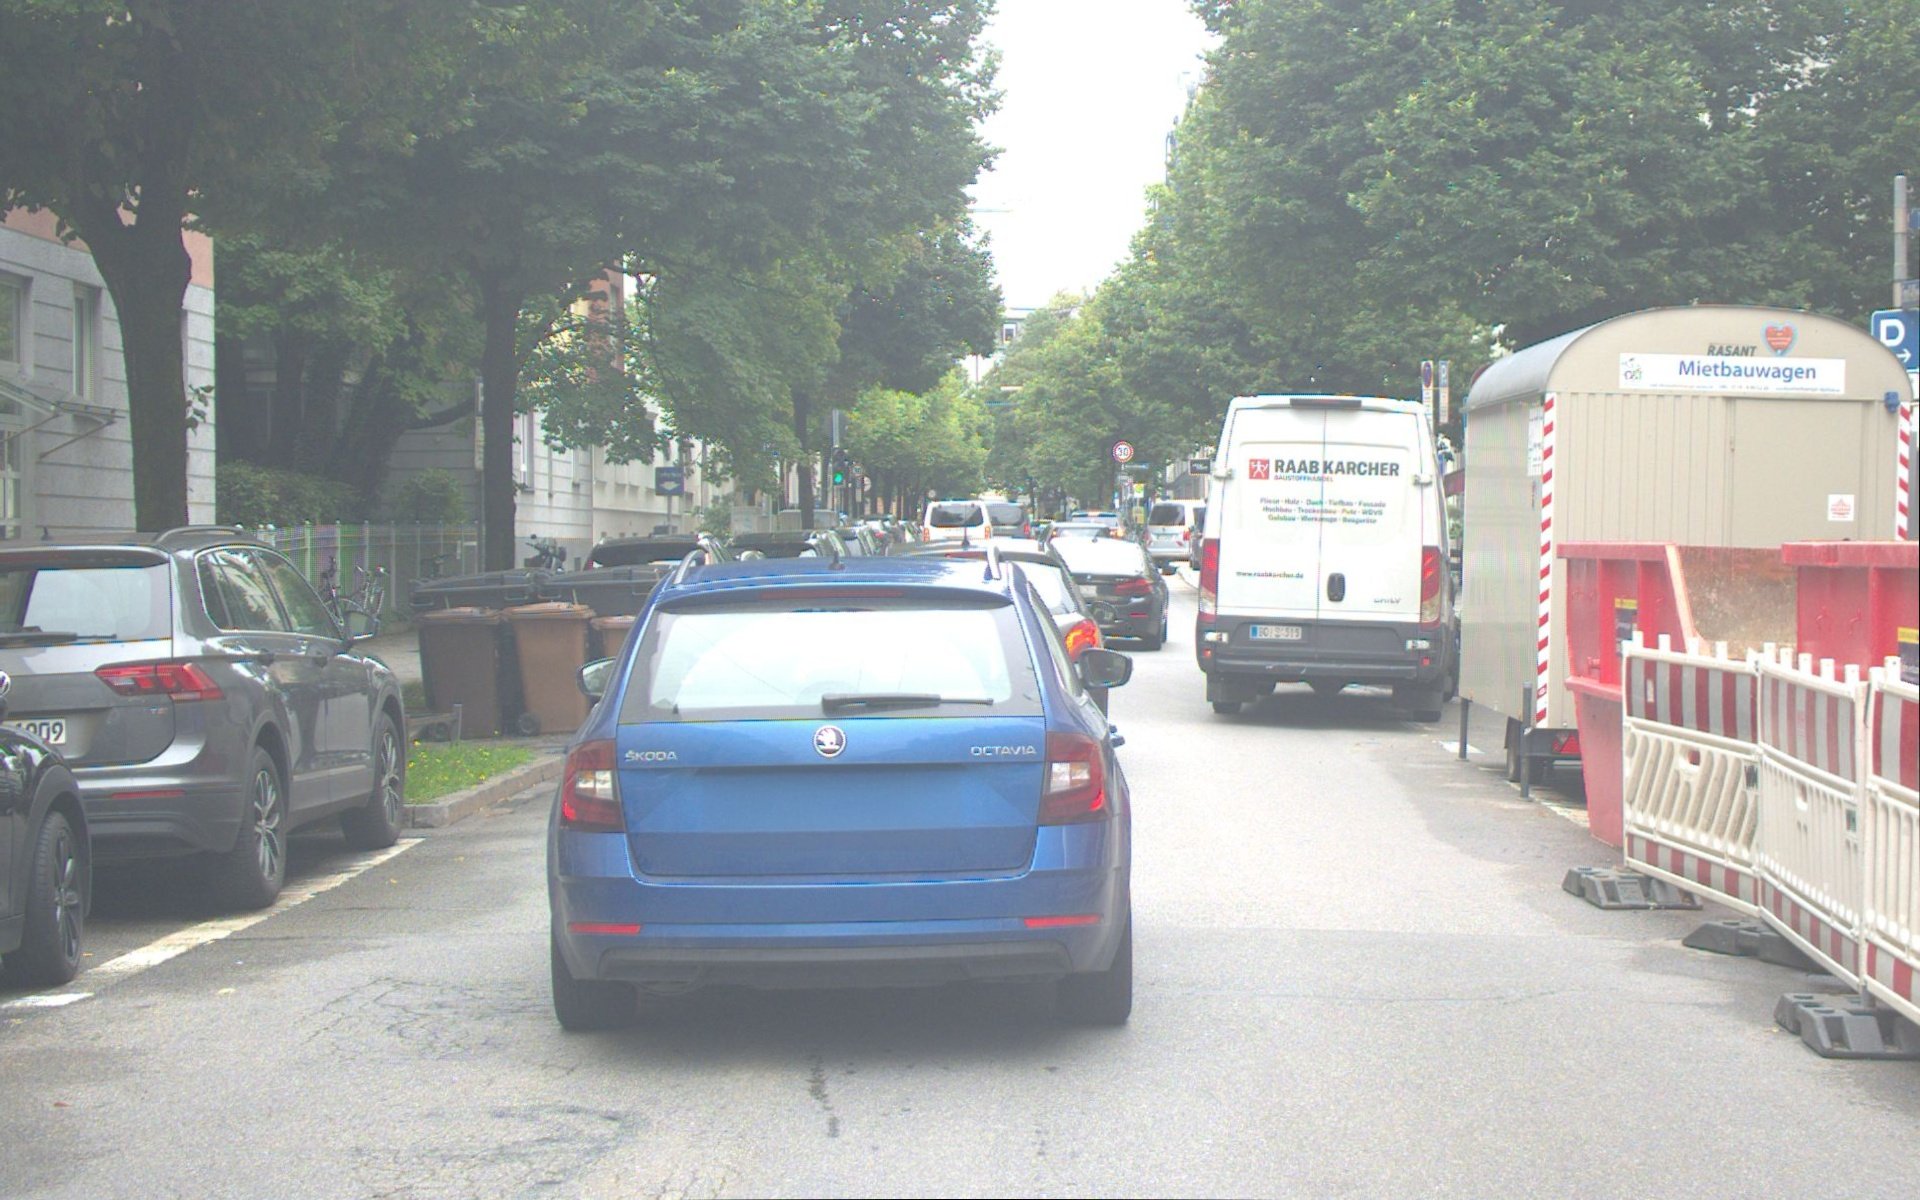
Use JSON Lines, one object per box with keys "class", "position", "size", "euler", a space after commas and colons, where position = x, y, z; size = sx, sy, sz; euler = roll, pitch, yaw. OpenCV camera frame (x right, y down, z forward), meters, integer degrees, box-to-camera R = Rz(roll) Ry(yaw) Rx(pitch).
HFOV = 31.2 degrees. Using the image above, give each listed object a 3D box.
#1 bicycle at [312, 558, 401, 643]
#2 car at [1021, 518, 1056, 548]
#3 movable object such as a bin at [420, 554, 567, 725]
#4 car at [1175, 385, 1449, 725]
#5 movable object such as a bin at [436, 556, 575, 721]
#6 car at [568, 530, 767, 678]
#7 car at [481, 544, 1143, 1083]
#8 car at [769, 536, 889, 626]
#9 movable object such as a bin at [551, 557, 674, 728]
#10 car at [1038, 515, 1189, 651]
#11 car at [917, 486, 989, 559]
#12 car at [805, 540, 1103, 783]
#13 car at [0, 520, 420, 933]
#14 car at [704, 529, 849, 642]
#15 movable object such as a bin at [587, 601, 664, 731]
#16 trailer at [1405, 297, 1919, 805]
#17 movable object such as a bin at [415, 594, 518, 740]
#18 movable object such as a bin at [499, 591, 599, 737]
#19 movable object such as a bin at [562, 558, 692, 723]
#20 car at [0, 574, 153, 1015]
{"class": "bicycle", "position": [-7.946, -0.010, 45.347], "size": [0.635, 1.063, 2.387], "euler": [-1, 1, 2]}
{"class": "car", "position": [4.613, -3.942, 201.472], "size": [1.867, 1.734, 4.348], "euler": [-1, 1, -1]}
{"class": "movable object such as a bin", "position": [-3.921, 0.319, 28.969], "size": [1.081, 1.372, 1.084], "euler": [-2, 1, -2]}
{"class": "car", "position": [3.142, -0.387, 30.035], "size": [2.113, 2.654, 5.498], "euler": [1, 1, 7]}
{"class": "movable object such as a bin", "position": [-3.966, 0.322, 30.071], "size": [1.057, 1.372, 1.096], "euler": [-2, 1, -2]}
{"class": "car", "position": [-3.073, 0.003, 36.847], "size": [1.812, 1.473, 4.000], "euler": [0, 1, 0]}
{"class": "car", "position": [-0.302, 0.548, 11.469], "size": [1.789, 1.455, 4.314], "euler": [0, 1, 3]}
{"class": "car", "position": [-2.236, -0.356, 59.604], "size": [1.812, 1.473, 4.000], "euler": [1, 1, 2]}
{"class": "movable object such as a bin", "position": [-2.923, 0.348, 29.024], "size": [0.918, 1.372, 1.080], "euler": [-2, 1, -2]}
{"class": "car", "position": [2.001, -0.266, 45.986], "size": [1.867, 1.690, 4.347], "euler": [1, 2, 1]}
{"class": "car", "position": [-0.195, -2.089, 92.380], "size": [1.867, 1.863, 4.348], "euler": [1, 2, 0]}
{"class": "car", "position": [0.036, 0.335, 22.015], "size": [1.741, 1.417, 3.664], "euler": [0, 1, 2]}
{"class": "car", "position": [-3.785, 0.470, 15.731], "size": [1.785, 1.622, 4.185], "euler": [-1, 1, 2]}
{"class": "car", "position": [-2.496, -0.227, 47.565], "size": [1.812, 1.473, 4.000], "euler": [0, 1, 0]}
{"class": "movable object such as a bin", "position": [-2.736, 0.533, 28.167], "size": [0.546, 1.017, 0.636], "euler": [-2, 1, -2]}
{"class": "trailer", "position": [4.607, -0.311, 22.894], "size": [2.502, 2.830, 6.901], "euler": [1, 1, 1]}
{"class": "movable object such as a bin", "position": [-4.025, 0.540, 28.088], "size": [0.721, 1.134, 0.658], "euler": [-2, 1, -2]}
{"class": "movable object such as a bin", "position": [-3.356, 0.515, 28.124], "size": [0.711, 1.144, 0.636], "euler": [-2, 1, -2]}
{"class": "movable object such as a bin", "position": [-2.908, 0.341, 30.123], "size": [1.020, 1.372, 1.104], "euler": [-2, 1, -2]}
{"class": "car", "position": [-3.951, 0.642, 10.928], "size": [1.699, 1.404, 3.708], "euler": [-1, 1, 3]}
